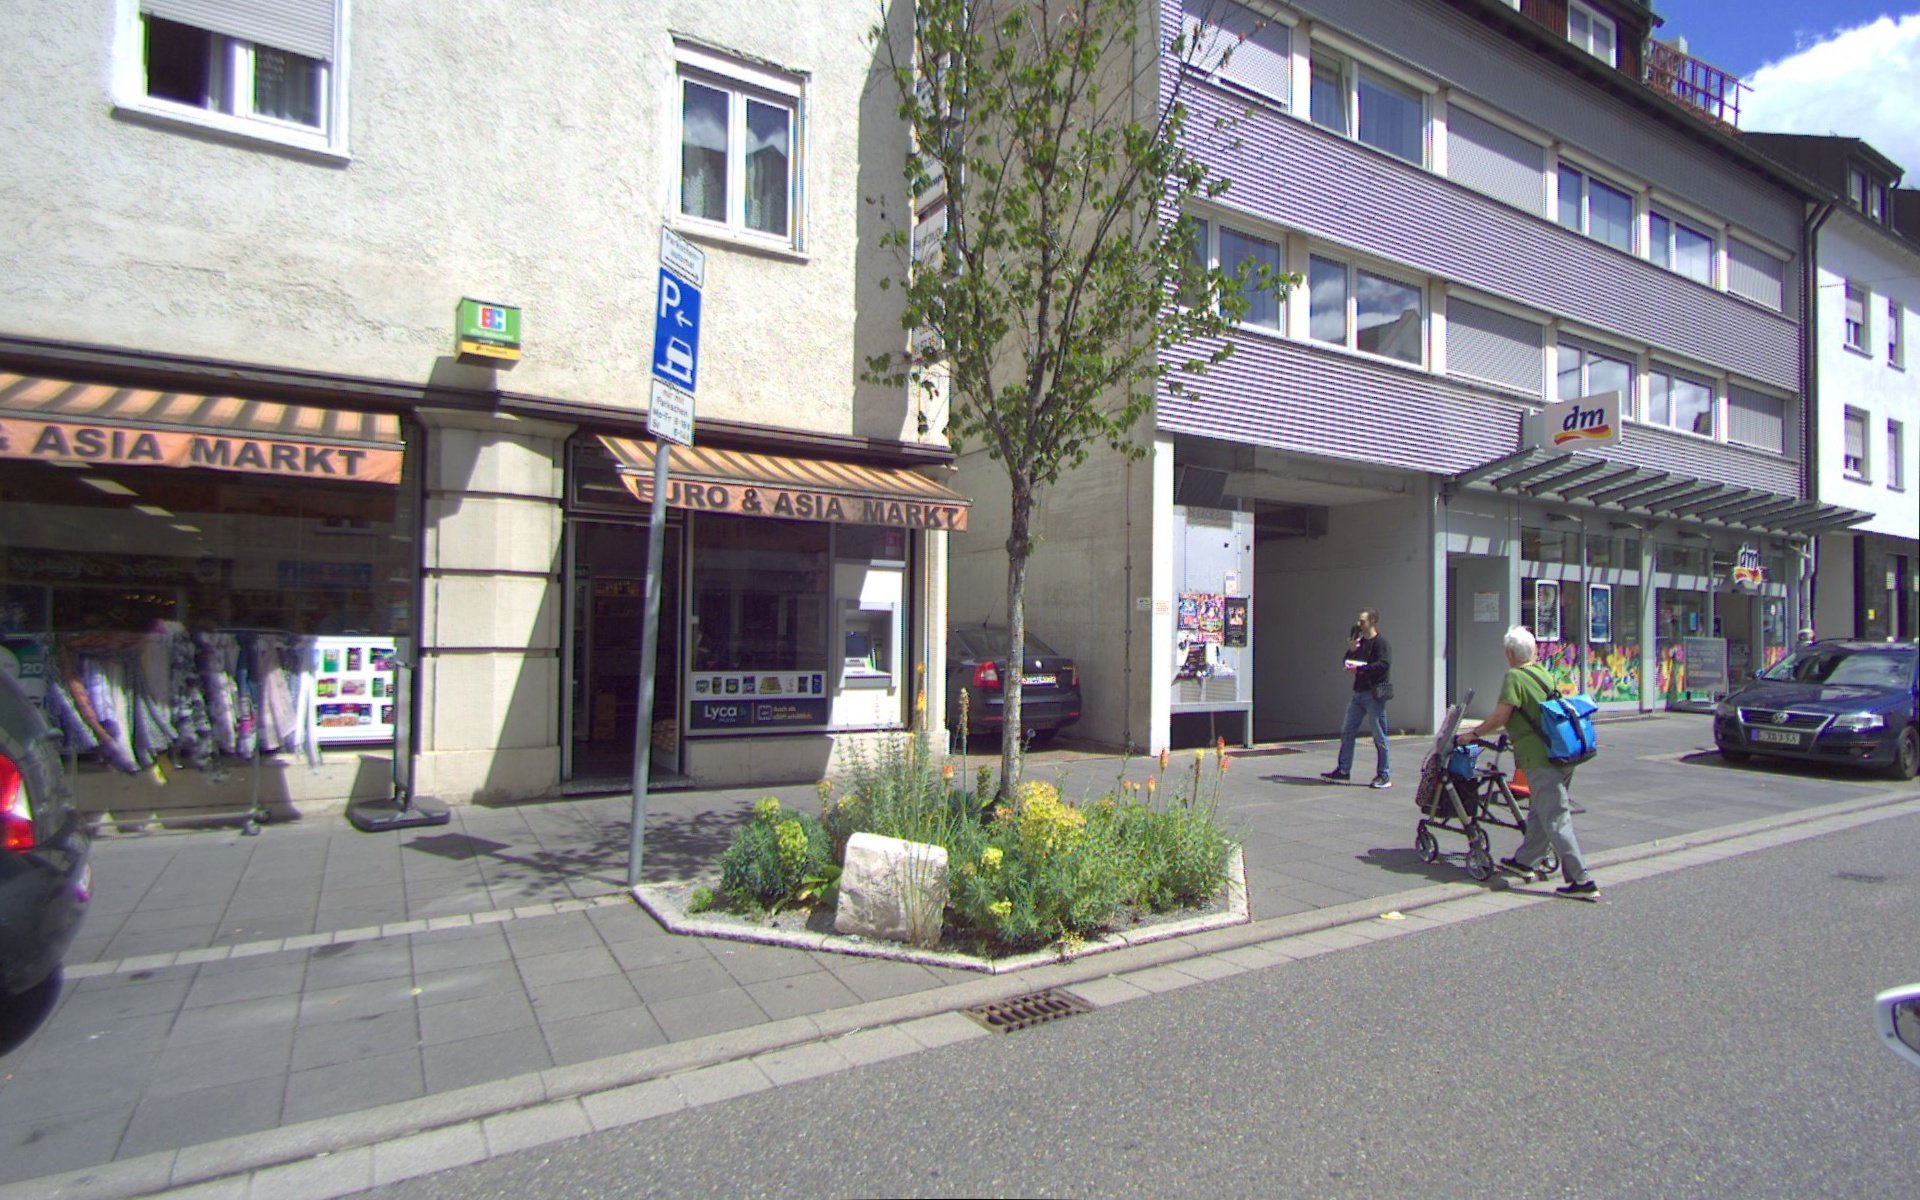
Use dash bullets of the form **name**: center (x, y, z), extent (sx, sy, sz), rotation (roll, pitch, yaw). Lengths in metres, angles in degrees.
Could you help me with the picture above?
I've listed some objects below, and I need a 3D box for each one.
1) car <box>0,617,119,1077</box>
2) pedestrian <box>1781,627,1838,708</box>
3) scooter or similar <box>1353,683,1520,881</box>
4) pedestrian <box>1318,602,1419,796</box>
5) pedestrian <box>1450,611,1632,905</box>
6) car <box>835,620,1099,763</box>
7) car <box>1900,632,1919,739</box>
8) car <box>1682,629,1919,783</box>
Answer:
- **car**: center (-4.777, 0.815, 2.937), extent (3.527, 1.465, 1.583), rotation (0, 1, -40)
- **pedestrian**: center (16.103, 1.270, 19.039), extent (0.556, 1.474, 0.651), rotation (2, 0, -30)
- **scooter or similar**: center (3.155, 1.161, 6.676), extent (0.624, 1.141, 0.776), rotation (2, 0, -35)
- **pedestrian**: center (3.930, 0.925, 9.667), extent (0.721, 1.780, 0.544), rotation (2, 0, -34)
- **pedestrian**: center (3.534, 0.901, 6.128), extent (0.645, 1.639, 0.726), rotation (2, 0, -35)
- **car**: center (-0.071, 1.042, 12.871), extent (1.638, 1.428, 3.801), rotation (2, 0, -31)
- **car**: center (15.965, 1.278, 15.117), extent (4.135, 1.523, 1.779), rotation (1, 0, -34)
- **car**: center (10.991, 1.169, 12.285), extent (4.657, 1.533, 1.781), rotation (2, -1, -30)
